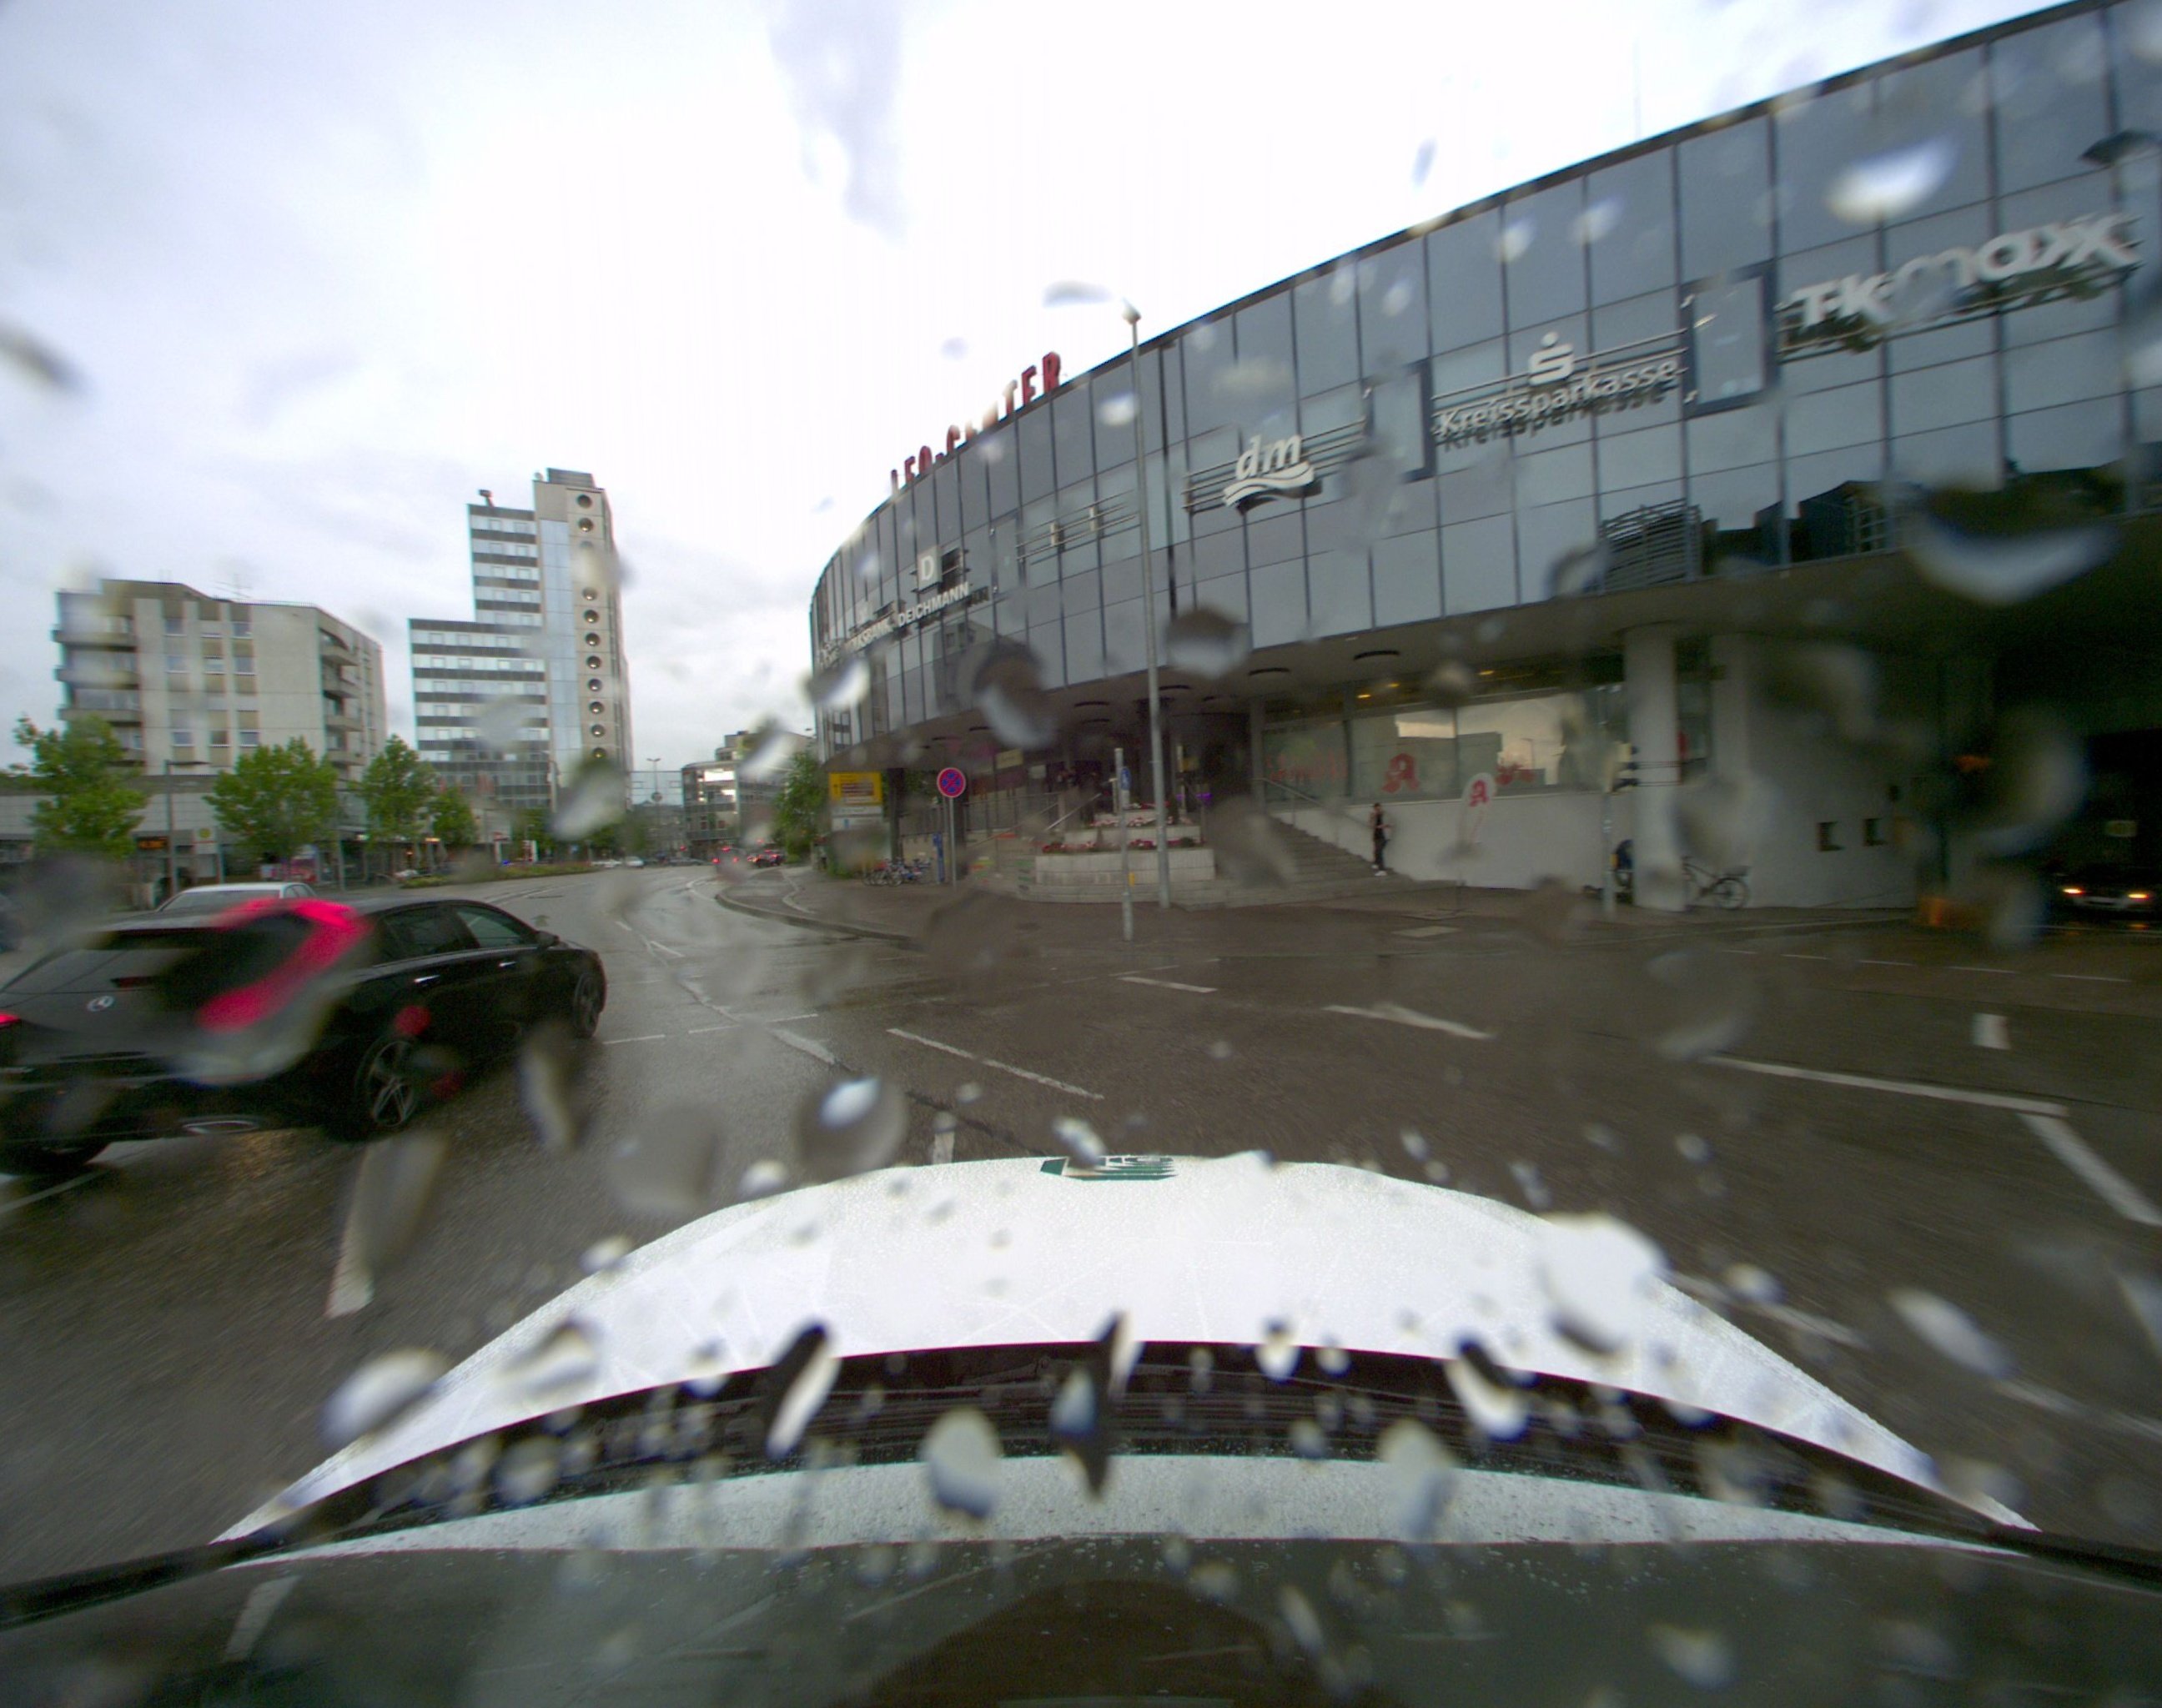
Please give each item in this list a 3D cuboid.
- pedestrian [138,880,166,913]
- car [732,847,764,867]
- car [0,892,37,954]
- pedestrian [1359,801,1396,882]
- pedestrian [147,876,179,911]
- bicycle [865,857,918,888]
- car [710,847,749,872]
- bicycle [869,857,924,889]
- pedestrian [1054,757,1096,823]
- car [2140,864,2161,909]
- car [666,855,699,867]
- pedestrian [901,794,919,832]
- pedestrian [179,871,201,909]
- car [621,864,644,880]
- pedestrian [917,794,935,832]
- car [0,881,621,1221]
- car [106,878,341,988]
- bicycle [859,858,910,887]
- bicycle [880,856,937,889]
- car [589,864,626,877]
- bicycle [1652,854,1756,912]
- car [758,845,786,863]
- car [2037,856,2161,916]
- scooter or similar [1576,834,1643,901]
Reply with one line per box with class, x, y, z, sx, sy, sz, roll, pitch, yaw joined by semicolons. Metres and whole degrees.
pedestrian;-42.549;1.944;37.313;0.638;1.470;0.630;-3;2;-33
car;-31.587;0.284;77.355;1.887;1.671;3.986;-3;2;-10
car;-23.827;1.552;16.697;1.443;1.297;3.744;-3;1;-26
pedestrian;7.140;-0.292;19.580;0.649;1.908;0.599;-1;1;36
pedestrian;-42.882;1.826;38.052;0.800;1.571;0.630;-3;2;-33
bicycle;-7.455;0.716;32.063;1.859;1.033;0.623;-6;2;-27
car;-30.225;0.463;70.182;2.043;1.895;4.126;-3;2;-9
bicycle;-7.106;0.724;31.395;1.859;1.042;0.642;-6;2;-27
pedestrian;-0.192;-1.996;25.523;0.957;2.013;0.823;-3;2;-36
car;37.940;1.076;27.747;3.887;1.464;1.759;0;-1;-30
car;-54.579;0.947;111.538;3.901;1.518;1.770;-3;2;-27
pedestrian;-7.805;-1.855;37.145;0.655;1.713;0.595;-2;2;-22
pedestrian;-42.338;1.699;38.708;0.490;1.718;0.533;-3;2;-29
car;-49.936;1.973;90.780;1.699;1.632;3.487;-3;2;-21
pedestrian;-7.121;-1.879;37.340;0.655;1.713;0.595;-2;2;-22
car;-5.131;1.026;6.014;1.663;1.481;4.080;-3;0;-10
car;-14.648;1.235;14.207;1.752;1.441;3.953;-3;1;-31
bicycle;-7.858;0.717;32.634;1.858;0.951;0.532;-6;3;-24
bicycle;-6.330;0.665;29.929;1.859;1.023;0.626;-5;1;-27
car;-61.045;2.131;105.096;4.010;1.384;1.712;-3;2;-28
bicycle;12.599;0.573;16.508;1.571;1.017;0.454;4;3;14
car;-31.873;-0.010;84.109;1.911;1.724;3.796;-3;2;-10
car;27.300;0.842;21.530;4.038;1.469;1.881;2;-2;-29
scooter or similar;11.105;0.271;17.152;1.155;1.372;0.492;0;2;30
